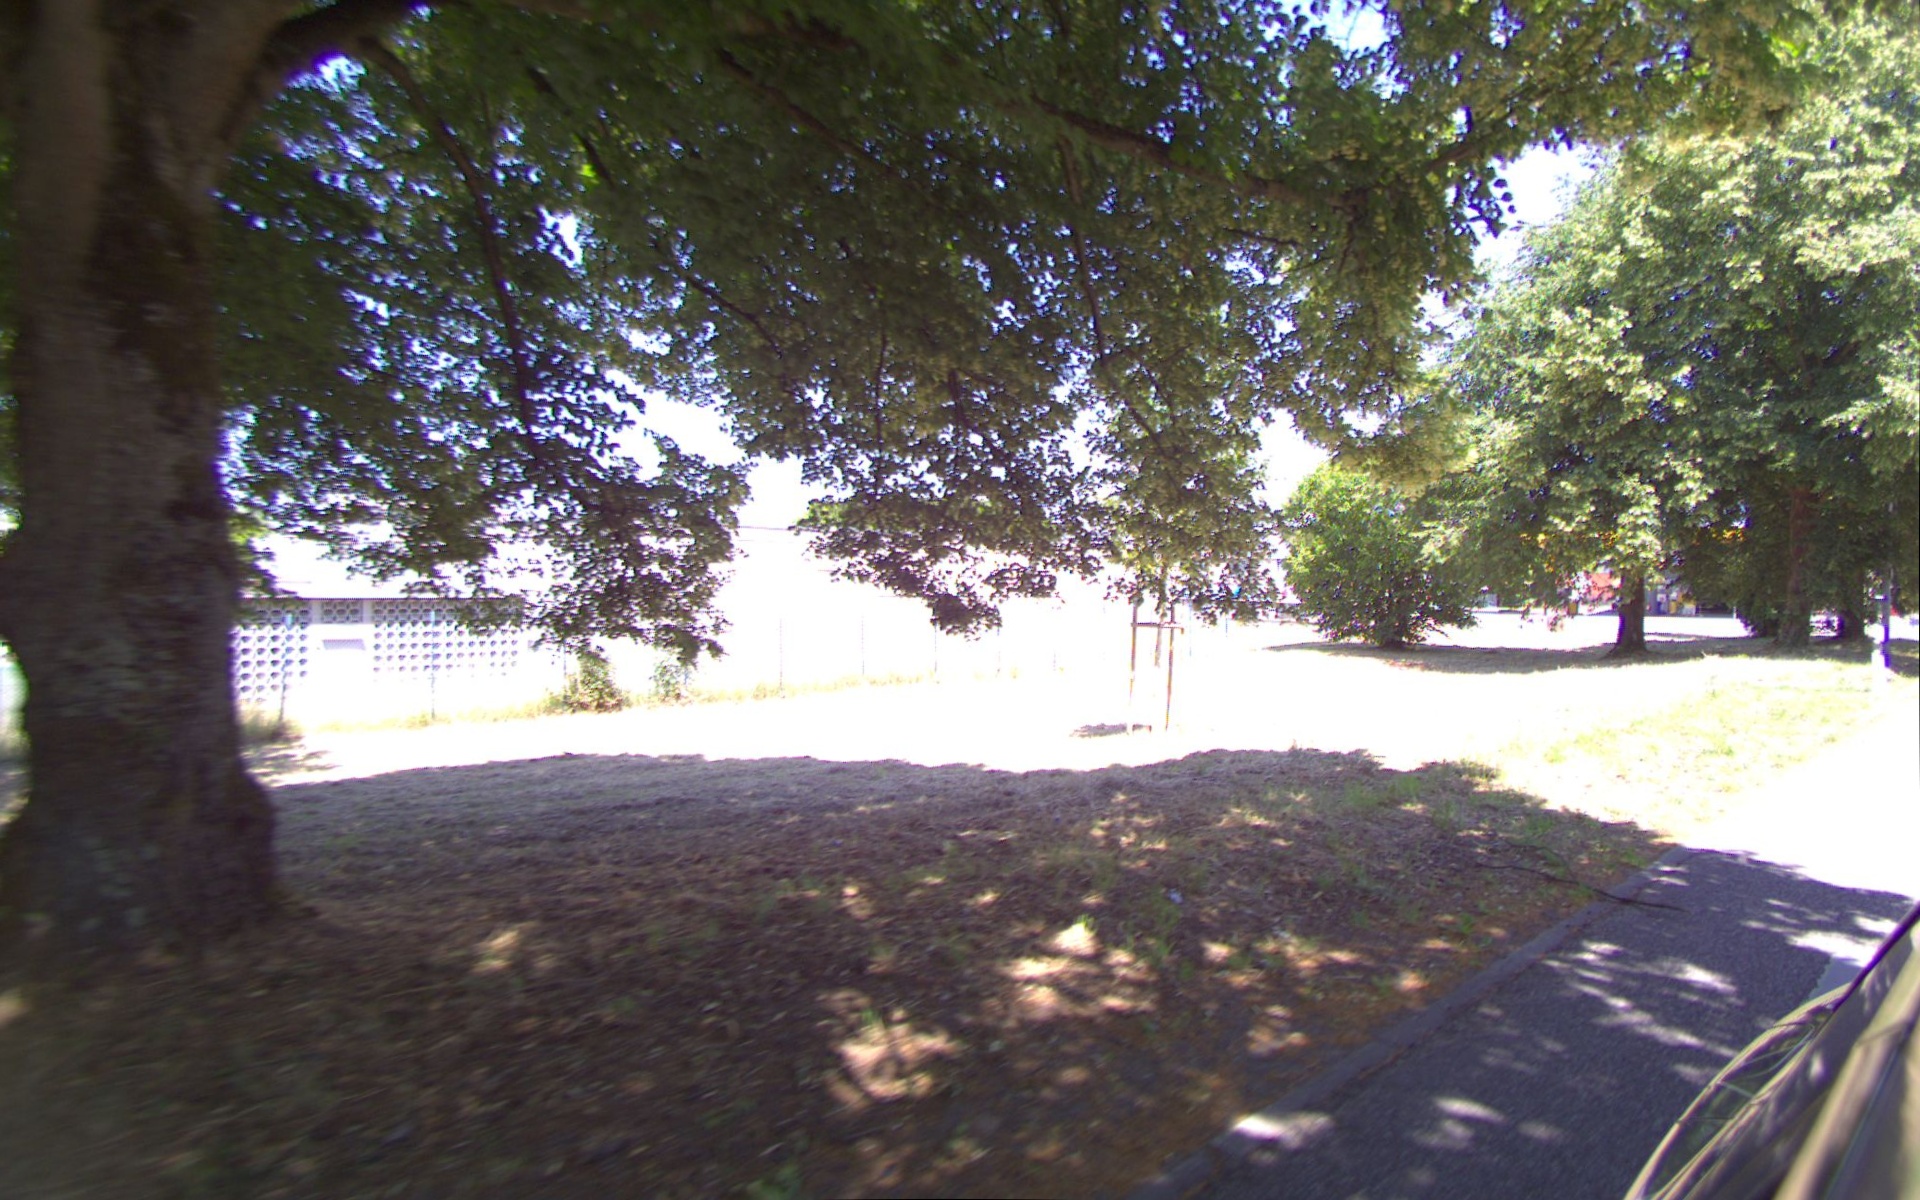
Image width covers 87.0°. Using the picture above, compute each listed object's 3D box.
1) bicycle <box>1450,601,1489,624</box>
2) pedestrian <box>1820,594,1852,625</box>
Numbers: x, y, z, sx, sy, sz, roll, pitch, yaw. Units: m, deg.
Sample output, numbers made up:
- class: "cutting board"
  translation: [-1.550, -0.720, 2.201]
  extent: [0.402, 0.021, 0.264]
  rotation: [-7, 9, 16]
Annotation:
- class: "bicycle"
  translation: [25.447, 0.619, 50.566]
  extent: [0.459, 1.111, 1.696]
  rotation: [0, 1, -40]
- class: "pedestrian"
  translation: [41.346, 0.459, 47.793]
  extent: [0.853, 1.439, 0.770]
  rotation: [0, 0, 8]
